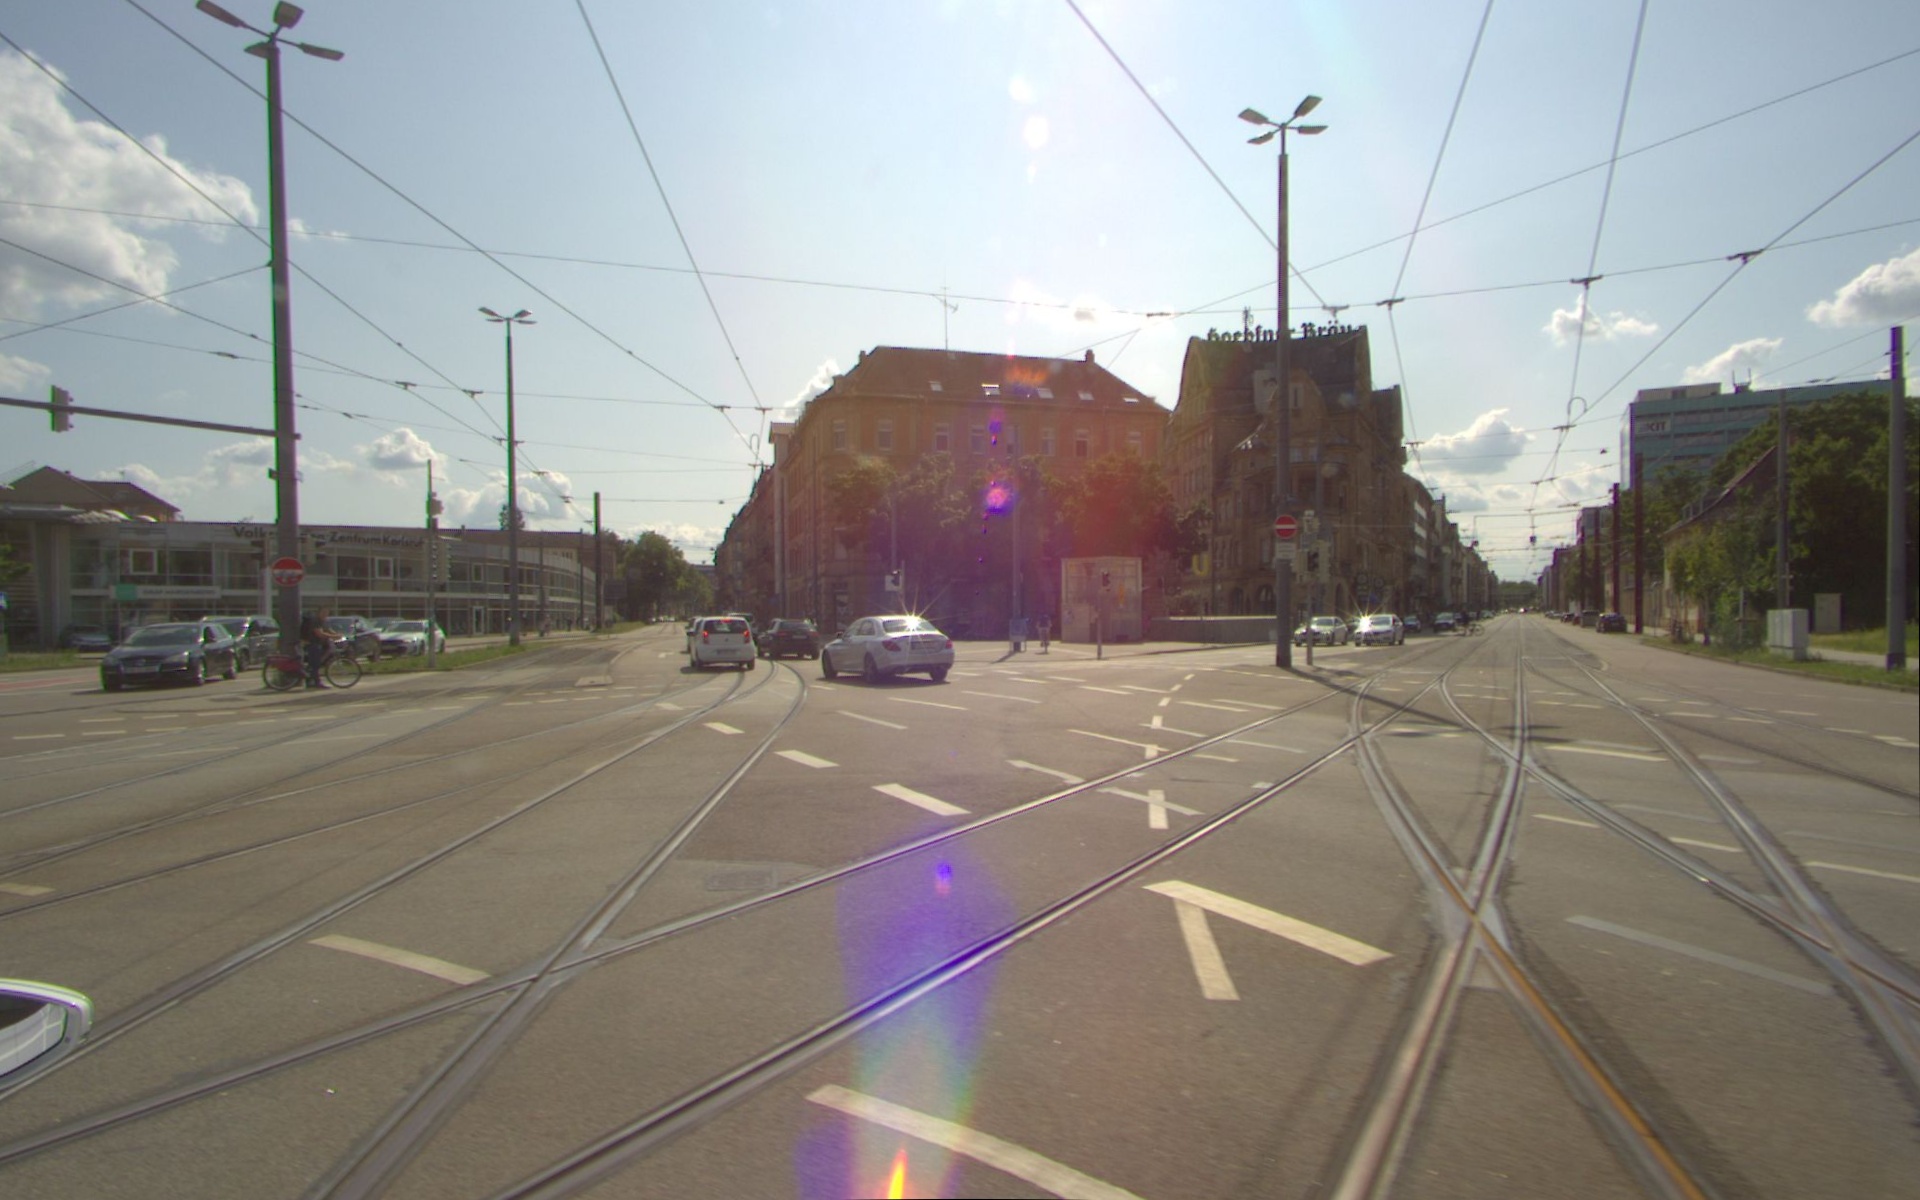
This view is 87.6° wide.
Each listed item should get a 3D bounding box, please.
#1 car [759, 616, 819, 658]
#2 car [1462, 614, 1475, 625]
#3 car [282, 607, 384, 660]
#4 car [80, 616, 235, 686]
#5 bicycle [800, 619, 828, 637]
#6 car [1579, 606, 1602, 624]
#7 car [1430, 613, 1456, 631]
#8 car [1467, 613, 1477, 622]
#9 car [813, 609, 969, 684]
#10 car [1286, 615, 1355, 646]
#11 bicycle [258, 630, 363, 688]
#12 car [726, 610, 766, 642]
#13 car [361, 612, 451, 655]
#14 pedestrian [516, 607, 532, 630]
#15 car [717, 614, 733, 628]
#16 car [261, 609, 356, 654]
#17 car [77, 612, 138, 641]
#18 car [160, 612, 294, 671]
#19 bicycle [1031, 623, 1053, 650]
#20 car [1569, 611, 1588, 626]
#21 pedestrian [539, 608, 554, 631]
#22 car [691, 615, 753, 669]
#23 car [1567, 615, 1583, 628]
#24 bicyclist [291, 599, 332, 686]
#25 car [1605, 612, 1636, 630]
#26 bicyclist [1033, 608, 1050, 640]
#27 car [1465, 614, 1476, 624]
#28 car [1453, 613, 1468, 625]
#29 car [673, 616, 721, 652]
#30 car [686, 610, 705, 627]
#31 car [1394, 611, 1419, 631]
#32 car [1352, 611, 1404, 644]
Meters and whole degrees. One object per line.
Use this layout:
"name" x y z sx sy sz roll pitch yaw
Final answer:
"car" -6.256 1.292 36.373 1.674 1.390 4.125 0 0 -16
"car" 86.658 3.303 170.740 1.969 1.839 3.985 0 -1 27
"car" -19.282 0.975 30.964 1.664 1.481 3.961 -1 0 -17
"car" -18.255 1.099 22.975 1.714 1.391 3.631 -1 0 -21
"bicycle" -6.696 1.282 45.915 0.579 0.786 1.610 -1 0 -35
"car" 67.117 1.597 106.618 1.972 1.839 3.979 0 0 32
"car" 40.564 1.828 84.132 1.865 1.438 3.985 0 -1 27
"car" 106.378 3.648 208.086 1.969 1.839 3.985 0 -1 27
"car" -1.719 0.987 22.981 1.907 1.474 4.740 -1 0 -26
"car" 18.131 1.494 50.236 2.020 1.448 4.509 -2 -2 36
"bicycle" -13.386 1.198 20.700 1.758 1.140 0.637 0 0 -28
"car" -11.730 1.421 54.631 1.810 1.673 3.994 0 -2 -17
"car" -20.903 1.210 37.951 1.870 1.481 3.964 -1 0 -12
"pedestrian" -35.077 1.494 80.578 0.861 1.759 0.876 1 -1 1
"car" -28.961 2.578 123.458 1.809 1.673 3.995 0 -2 -15
"car" -23.826 1.098 36.770 1.601 1.481 3.964 -1 0 -12
"car" -49.788 1.561 58.535 1.796 1.554 3.901 -2 0 -27
"car" -21.899 1.186 30.105 1.711 1.594 3.996 -1 0 -12
"bicycle" 3.254 1.445 39.789 0.833 0.983 1.961 -1 0 4
"car" 76.953 2.307 124.571 1.972 1.839 3.979 0 0 32
"pedestrian" -35.030 1.633 84.799 0.861 1.947 0.876 1 -1 -2
"car" -6.964 1.172 29.412 1.624 1.440 3.995 -1 0 -13
"car" 91.049 3.196 148.215 1.972 1.839 3.979 0 0 32
"bicyclist" -13.409 0.870 20.720 0.652 1.761 0.637 0 0 -28
"car" 52.849 1.701 80.087 1.973 1.394 3.975 -1 -1 35
"bicyclist" 3.240 0.948 39.735 0.624 1.236 0.923 -1 1 5
"car" 98.046 3.596 192.318 1.969 1.839 3.985 0 -1 27
"car" 78.511 2.950 157.024 1.969 1.839 3.985 0 -1 27
"car" -10.957 1.398 41.934 1.822 1.437 3.675 0 -1 -13
"car" -26.299 1.869 99.599 1.809 1.673 3.995 0 -2 -15
"car" 37.755 1.784 84.560 1.694 1.704 3.912 0 -1 27
"car" 20.159 1.323 48.206 1.961 1.503 3.984 -1 -1 28
